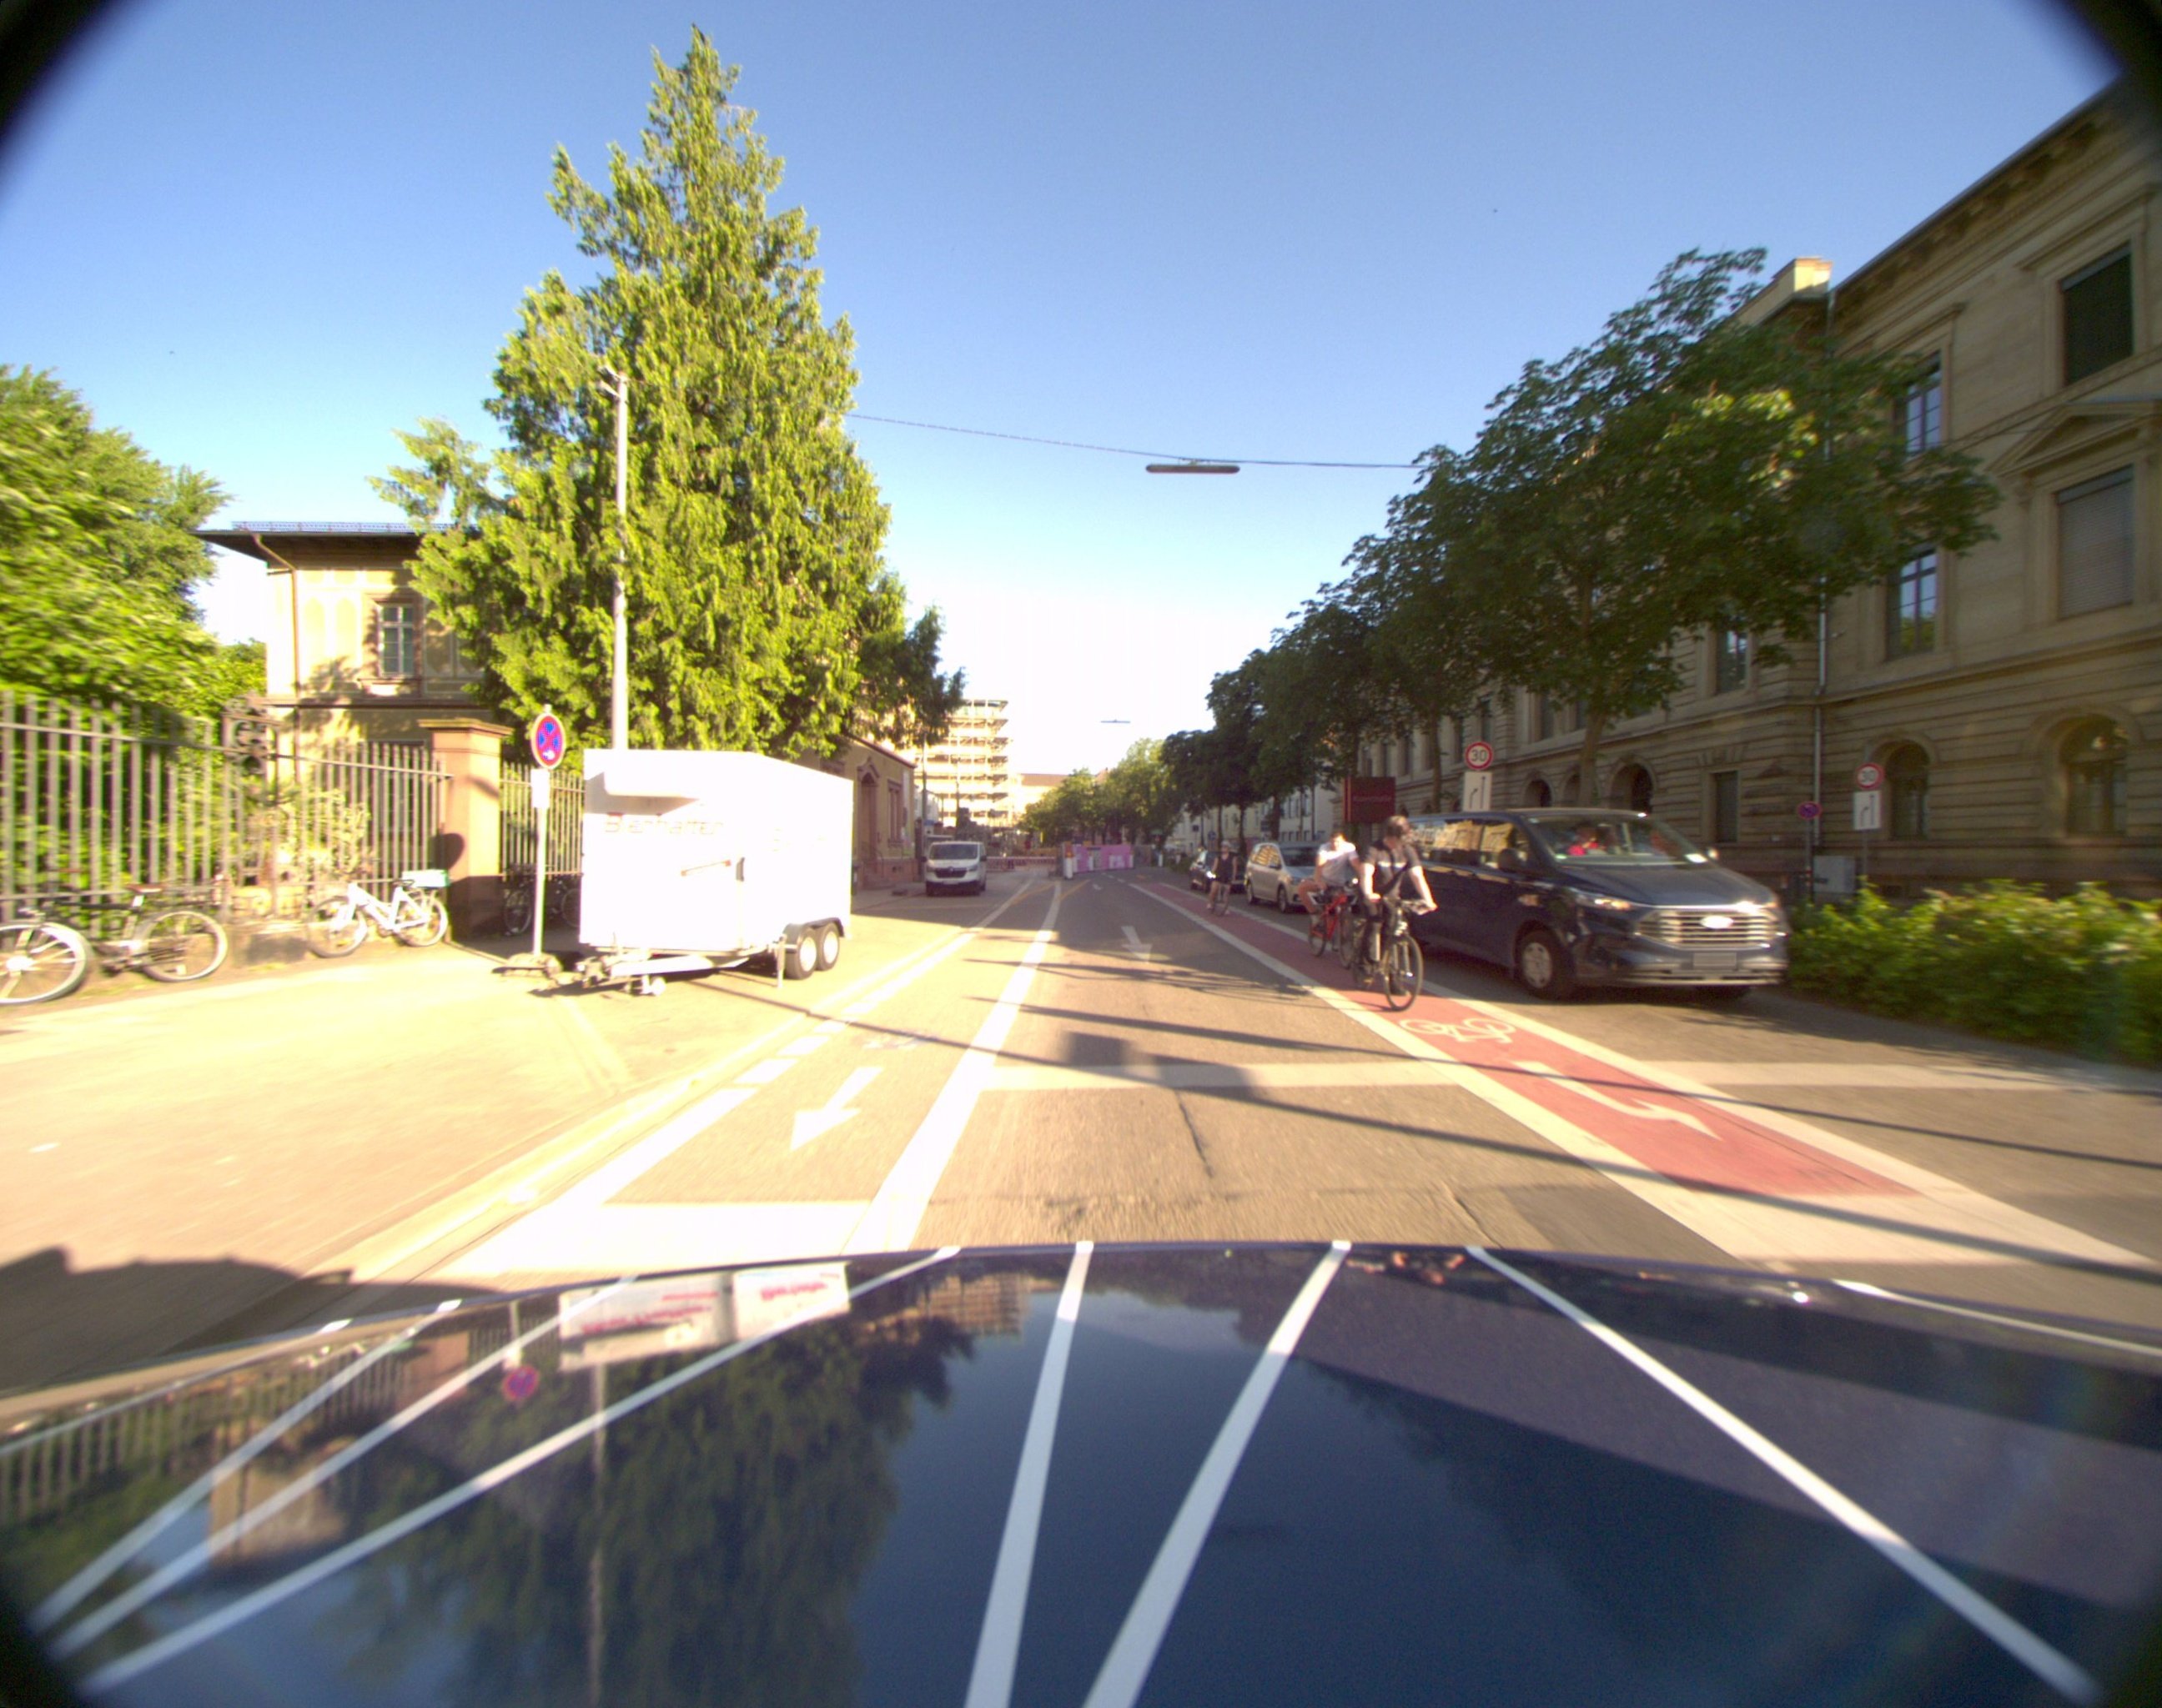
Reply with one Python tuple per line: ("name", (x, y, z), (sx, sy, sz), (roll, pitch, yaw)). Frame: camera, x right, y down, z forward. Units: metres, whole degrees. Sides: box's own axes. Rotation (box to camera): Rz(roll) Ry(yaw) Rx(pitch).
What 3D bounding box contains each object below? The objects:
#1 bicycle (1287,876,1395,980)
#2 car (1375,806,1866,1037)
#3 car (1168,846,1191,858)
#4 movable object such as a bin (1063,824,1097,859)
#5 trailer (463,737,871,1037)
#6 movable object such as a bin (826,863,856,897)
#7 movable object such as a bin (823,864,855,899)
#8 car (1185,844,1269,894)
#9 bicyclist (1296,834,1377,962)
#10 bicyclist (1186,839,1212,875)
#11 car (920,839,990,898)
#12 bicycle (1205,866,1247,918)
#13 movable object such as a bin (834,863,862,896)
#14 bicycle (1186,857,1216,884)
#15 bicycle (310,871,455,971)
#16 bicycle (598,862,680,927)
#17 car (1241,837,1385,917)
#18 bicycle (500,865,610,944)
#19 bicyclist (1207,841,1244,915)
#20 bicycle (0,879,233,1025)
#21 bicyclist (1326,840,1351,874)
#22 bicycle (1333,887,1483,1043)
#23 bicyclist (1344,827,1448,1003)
("bicycle", (3.313, 0.899, 9.890), (0.830, 1.136, 1.970), (-1, 1, 3))
("car", (5.415, 0.508, 8.787), (2.073, 1.905, 5.032), (0, 1, 0))
("car", (13.507, -0.275, 104.447), (1.820, 1.562, 4.384), (0, 1, -12))
("movable object such as a bin", (-0.135, -1.223, 75.282), (3.170, 3.281, 4.384), (1, 1, -2))
("trailer", (-4.202, 0.261, 8.794), (2.084, 2.514, 4.492), (2, 1, 2))
("movable object such as a bin", (-7.746, 0.843, 24.543), (0.794, 1.067, 0.535), (1, 1, 2))
("movable object such as a bin", (-7.593, 0.865, 23.838), (0.794, 1.067, 0.571), (1, 1, 2))
("car", (5.137, 0.457, 27.362), (1.999, 1.648, 4.735), (0, 1, -2))
("bicyclist", (3.315, 0.543, 9.932), (0.804, 1.599, 0.825), (0, 1, 3))
("bicyclist", (5.058, 0.115, 32.643), (0.870, 1.514, 1.231), (-2, 1, 1))
("car", (-4.562, 0.426, 28.362), (2.020, 1.934, 5.478), (-1, 1, -4))
("bicycle", (3.298, 0.847, 17.405), (0.670, 1.066, 1.753), (-1, 1, 2))
("movable object such as a bin", (-7.701, 0.833, 25.168), (0.731, 1.067, 0.562), (1, 1, 2))
("bicycle", (5.078, 0.676, 32.255), (0.872, 1.037, 2.453), (-1, 1, 1))
("bicycle", (-8.691, 0.787, 9.526), (0.274, 1.099, 1.532), (2, 1, 6))
("bicycle", (-8.663, 0.751, 14.974), (0.419, 1.149, 1.826), (2, 1, 4))
("car", (5.541, 0.477, 18.902), (1.996, 1.739, 4.746), (0, 1, -2))
("bicycle", (-8.389, 0.759, 12.225), (0.396, 1.124, 1.928), (0, 1, 1))
("bicyclist", (3.294, 0.529, 17.342), (0.674, 1.643, 0.887), (-1, 1, 1))
("bicycle", (-8.778, 0.811, 6.786), (0.399, 1.099, 1.681), (2, 1, 6))
("bicyclist", (14.514, 0.164, 42.905), (0.883, 1.824, 1.286), (3, 2, 1))
("bicycle", (3.003, 0.954, 7.216), (0.643, 1.148, 2.077), (-1, 1, 3))
("bicyclist", (3.013, 0.550, 7.345), (0.671, 1.599, 0.825), (0, 1, 3))
